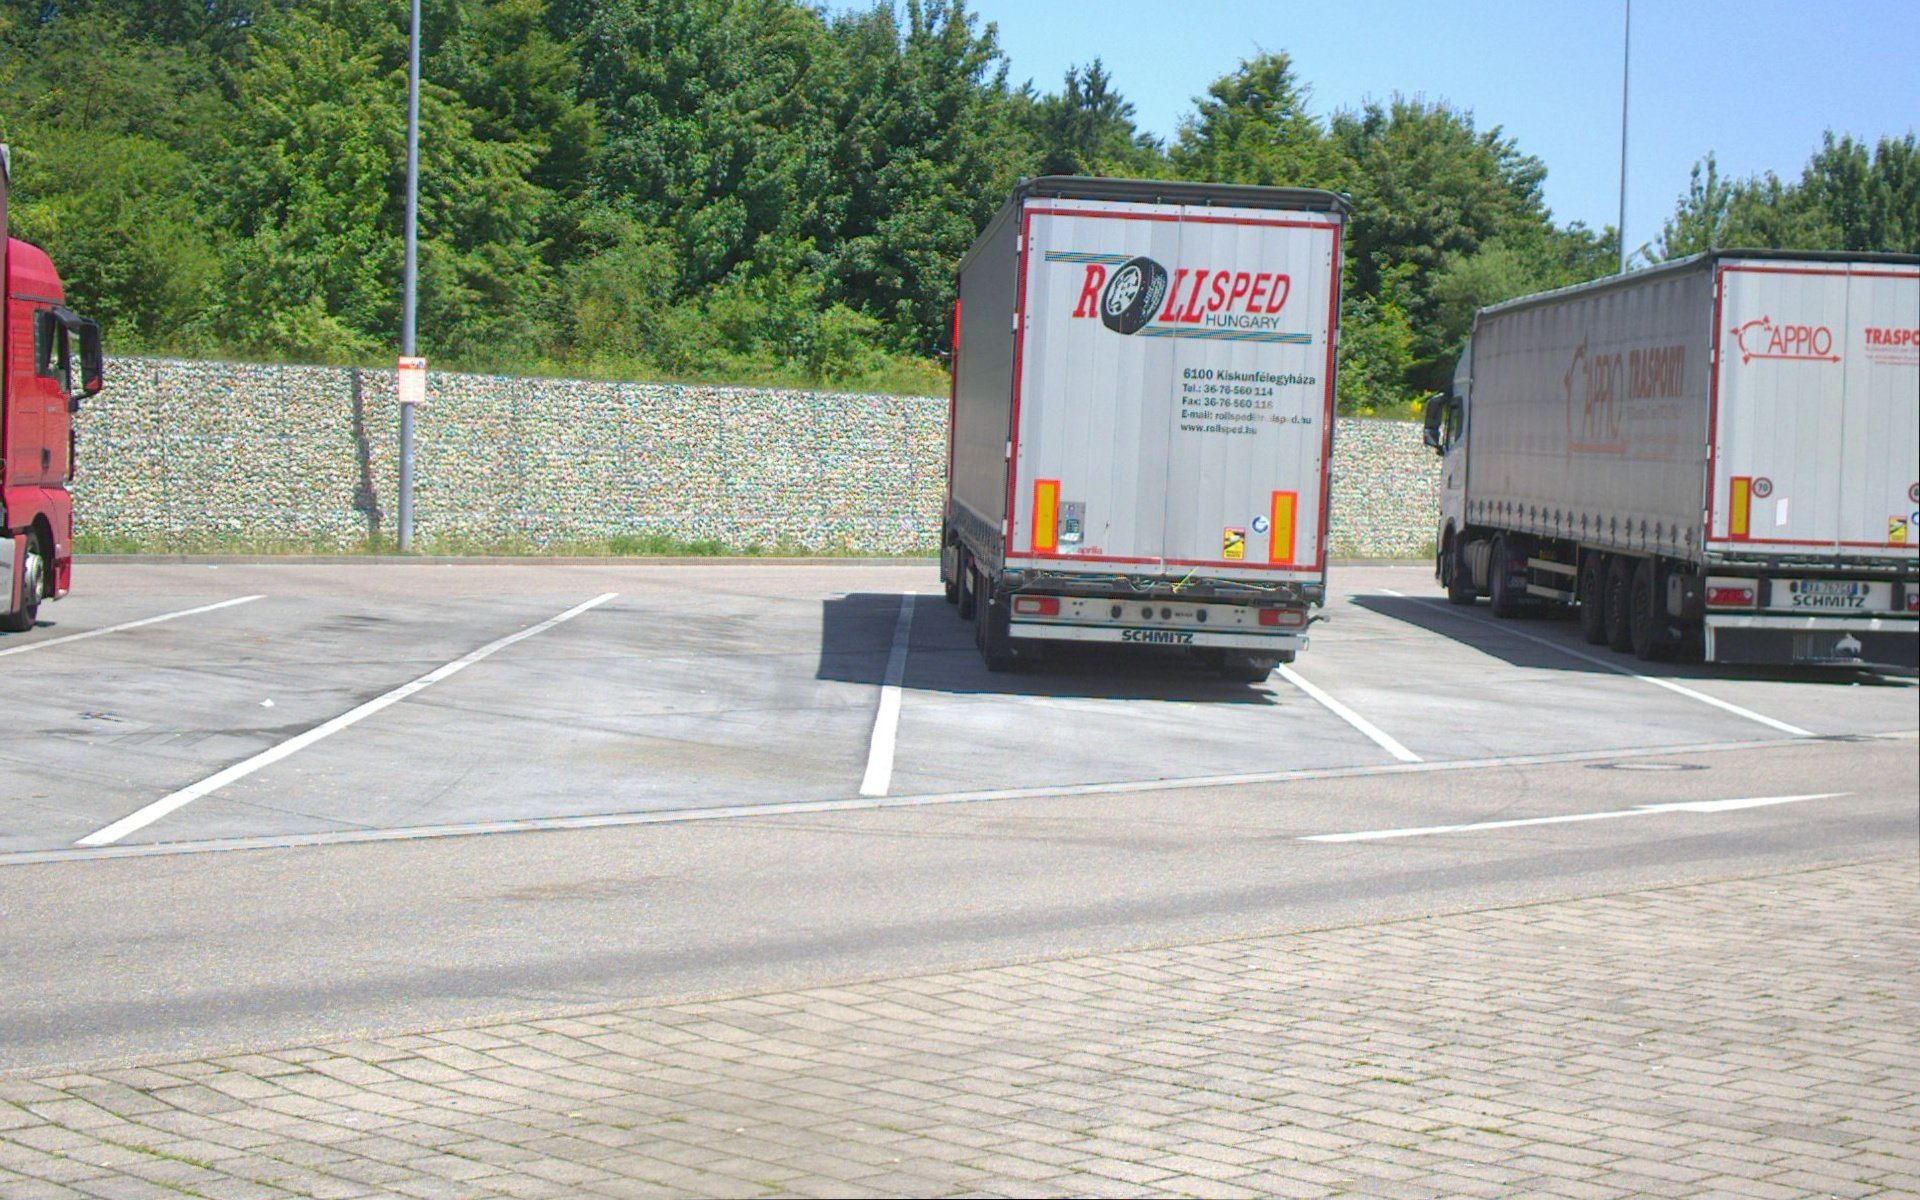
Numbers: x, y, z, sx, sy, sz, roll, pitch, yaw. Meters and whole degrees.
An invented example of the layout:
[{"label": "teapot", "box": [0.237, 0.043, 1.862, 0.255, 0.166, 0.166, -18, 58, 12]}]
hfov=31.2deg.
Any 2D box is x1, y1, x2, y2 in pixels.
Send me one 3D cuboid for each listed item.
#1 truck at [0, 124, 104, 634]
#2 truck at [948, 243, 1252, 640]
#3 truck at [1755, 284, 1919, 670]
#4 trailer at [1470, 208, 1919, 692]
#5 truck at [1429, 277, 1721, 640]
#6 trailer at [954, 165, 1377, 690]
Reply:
[{"label": "truck", "box": [-9.170, -1.815, 28.344, 2.805, 4.119, 5.894, 1, 2, -1]}, {"label": "truck", "box": [1.404, -1.695, 37.670, 2.871, 3.967, 6.030, 1, 2, -2]}, {"label": "truck", "box": [11.735, -1.343, 38.768, 2.587, 4.211, 11.971, 1, 1, -1]}, {"label": "trailer", "box": [8.118, -1.583, 38.178, 2.681, 4.437, 12.831, 1, 2, -1]}, {"label": "truck", "box": [7.985, -1.833, 45.333, 2.661, 4.437, 5.864, 1, 2, -1]}, {"label": "trailer", "box": [1.570, -1.507, 32.092, 2.897, 4.000, 11.319, 1, 2, -2]}]
